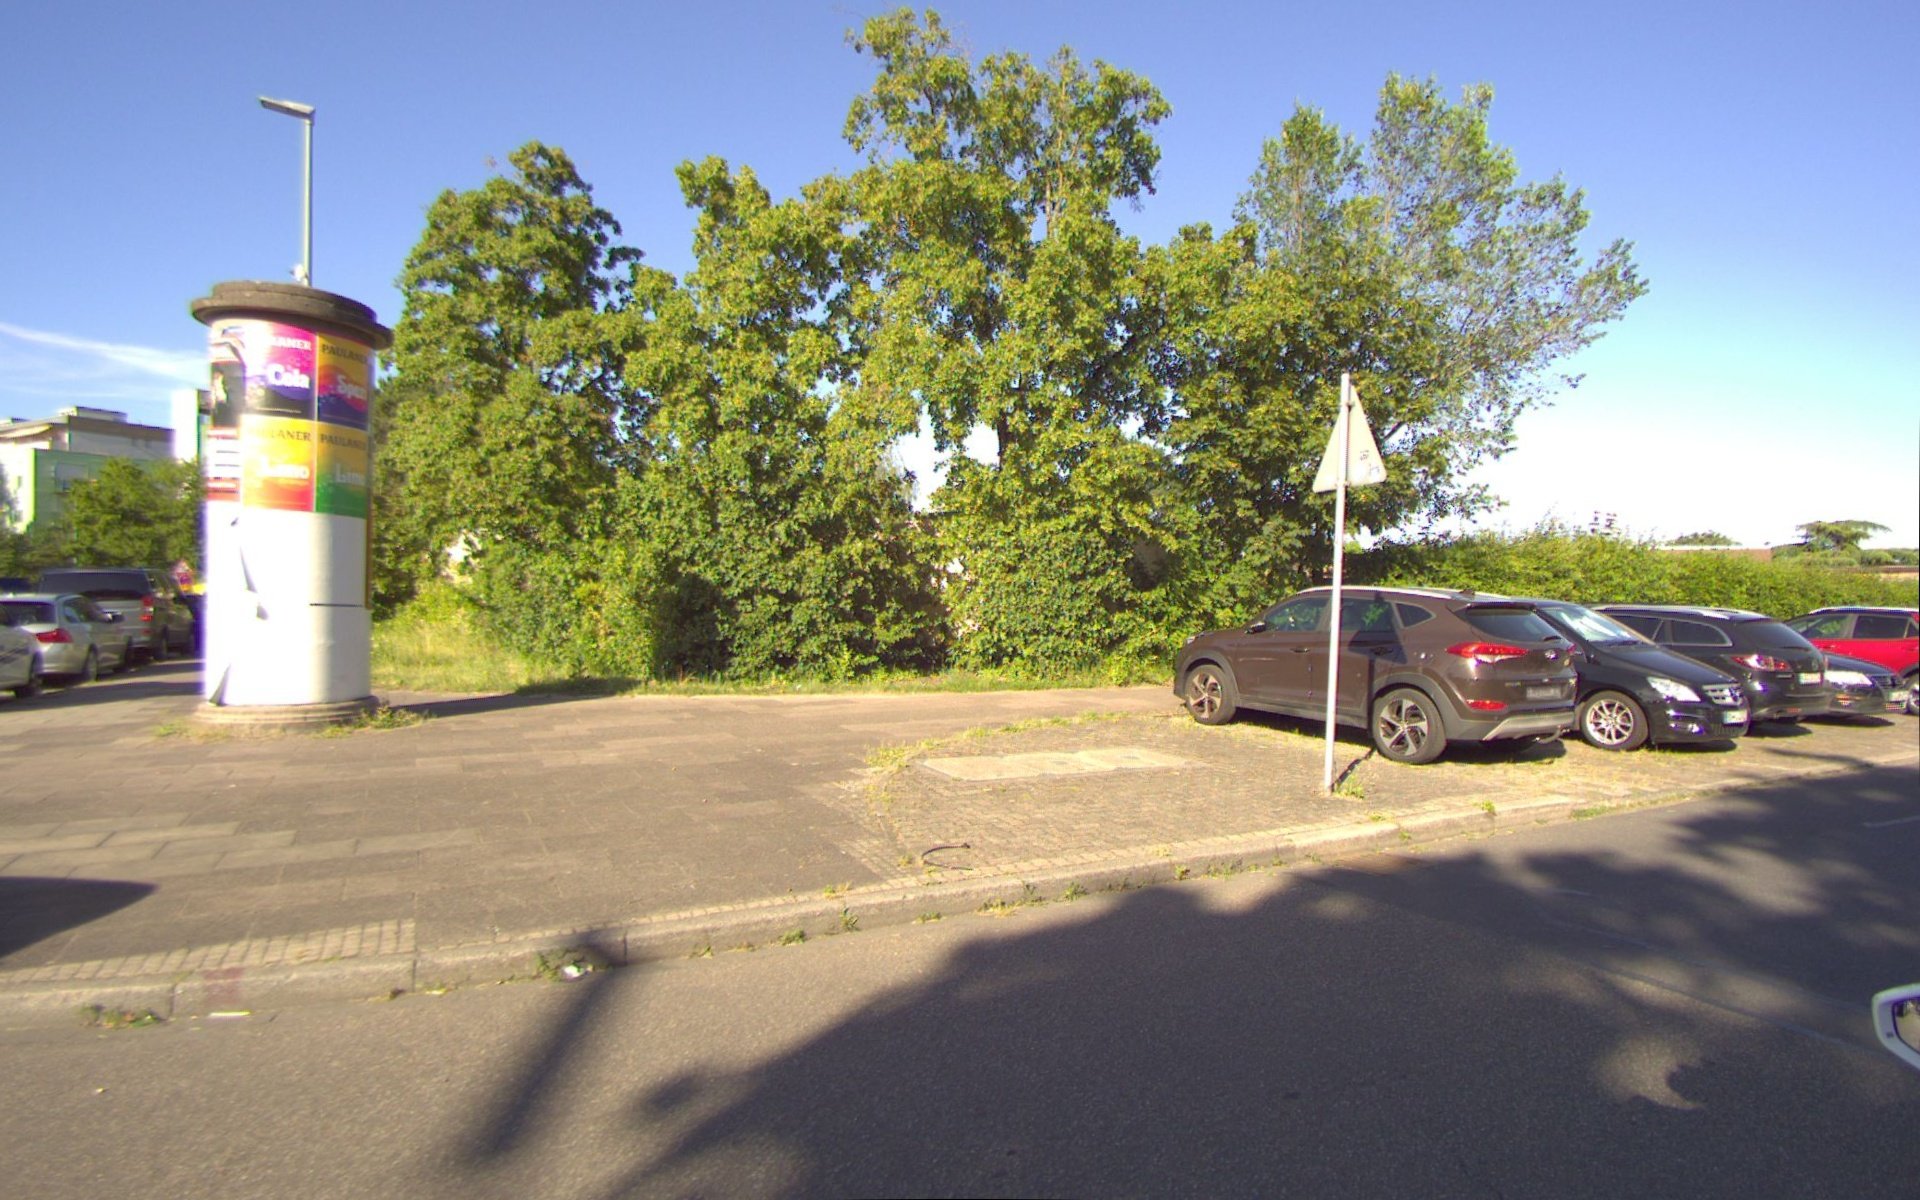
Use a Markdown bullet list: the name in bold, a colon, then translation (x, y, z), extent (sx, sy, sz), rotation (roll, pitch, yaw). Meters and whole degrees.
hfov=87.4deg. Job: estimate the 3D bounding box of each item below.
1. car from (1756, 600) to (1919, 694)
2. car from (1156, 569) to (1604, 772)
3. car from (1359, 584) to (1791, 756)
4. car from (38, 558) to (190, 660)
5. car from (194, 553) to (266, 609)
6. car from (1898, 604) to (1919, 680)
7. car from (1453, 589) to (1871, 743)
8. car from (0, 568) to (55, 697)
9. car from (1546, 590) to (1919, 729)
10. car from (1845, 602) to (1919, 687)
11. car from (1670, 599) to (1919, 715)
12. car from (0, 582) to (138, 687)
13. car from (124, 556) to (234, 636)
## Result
- **car**: translation (17.132, 0.859, 17.701), extent (1.726, 1.499, 4.522), rotation (0, 2, -29)
- **car**: translation (4.274, 0.579, 10.923), extent (1.826, 1.678, 4.164), rotation (2, 2, -31)
- **car**: translation (7.065, 0.684, 11.982), extent (1.811, 1.553, 3.966), rotation (2, 2, -31)
- **car**: translation (-17.388, 0.127, 20.851), extent (1.718, 1.880, 4.307), rotation (-1, 1, -31)
- **car**: translation (-26.185, -0.686, 36.141), extent (1.718, 1.880, 4.307), rotation (-1, 1, -31)
- **car**: translation (21.820, 0.969, 20.428), extent (1.830, 1.588, 3.585), rotation (0, 3, -29)
- **car**: translation (8.910, 0.722, 13.137), extent (1.792, 1.533, 4.070), rotation (2, 2, -31)
- **car**: translation (-12.066, 0.366, 11.620), extent (1.718, 1.481, 3.500), rotation (-1, 1, -31)
- **car**: translation (10.952, 0.724, 14.357), extent (1.884, 1.533, 3.997), rotation (2, 2, -31)
- **car**: translation (19.644, 0.912, 19.251), extent (1.859, 1.588, 3.585), rotation (0, 3, -29)
- **car**: translation (13.772, 0.832, 15.691), extent (1.769, 1.499, 3.968), rotation (0, 3, -29)
- **car**: translation (-14.650, 0.462, 16.056), extent (1.718, 1.481, 4.307), rotation (-1, 1, -31)
- **car**: translation (-20.036, -0.128, 25.934), extent (1.718, 1.880, 4.307), rotation (-1, 1, -31)
